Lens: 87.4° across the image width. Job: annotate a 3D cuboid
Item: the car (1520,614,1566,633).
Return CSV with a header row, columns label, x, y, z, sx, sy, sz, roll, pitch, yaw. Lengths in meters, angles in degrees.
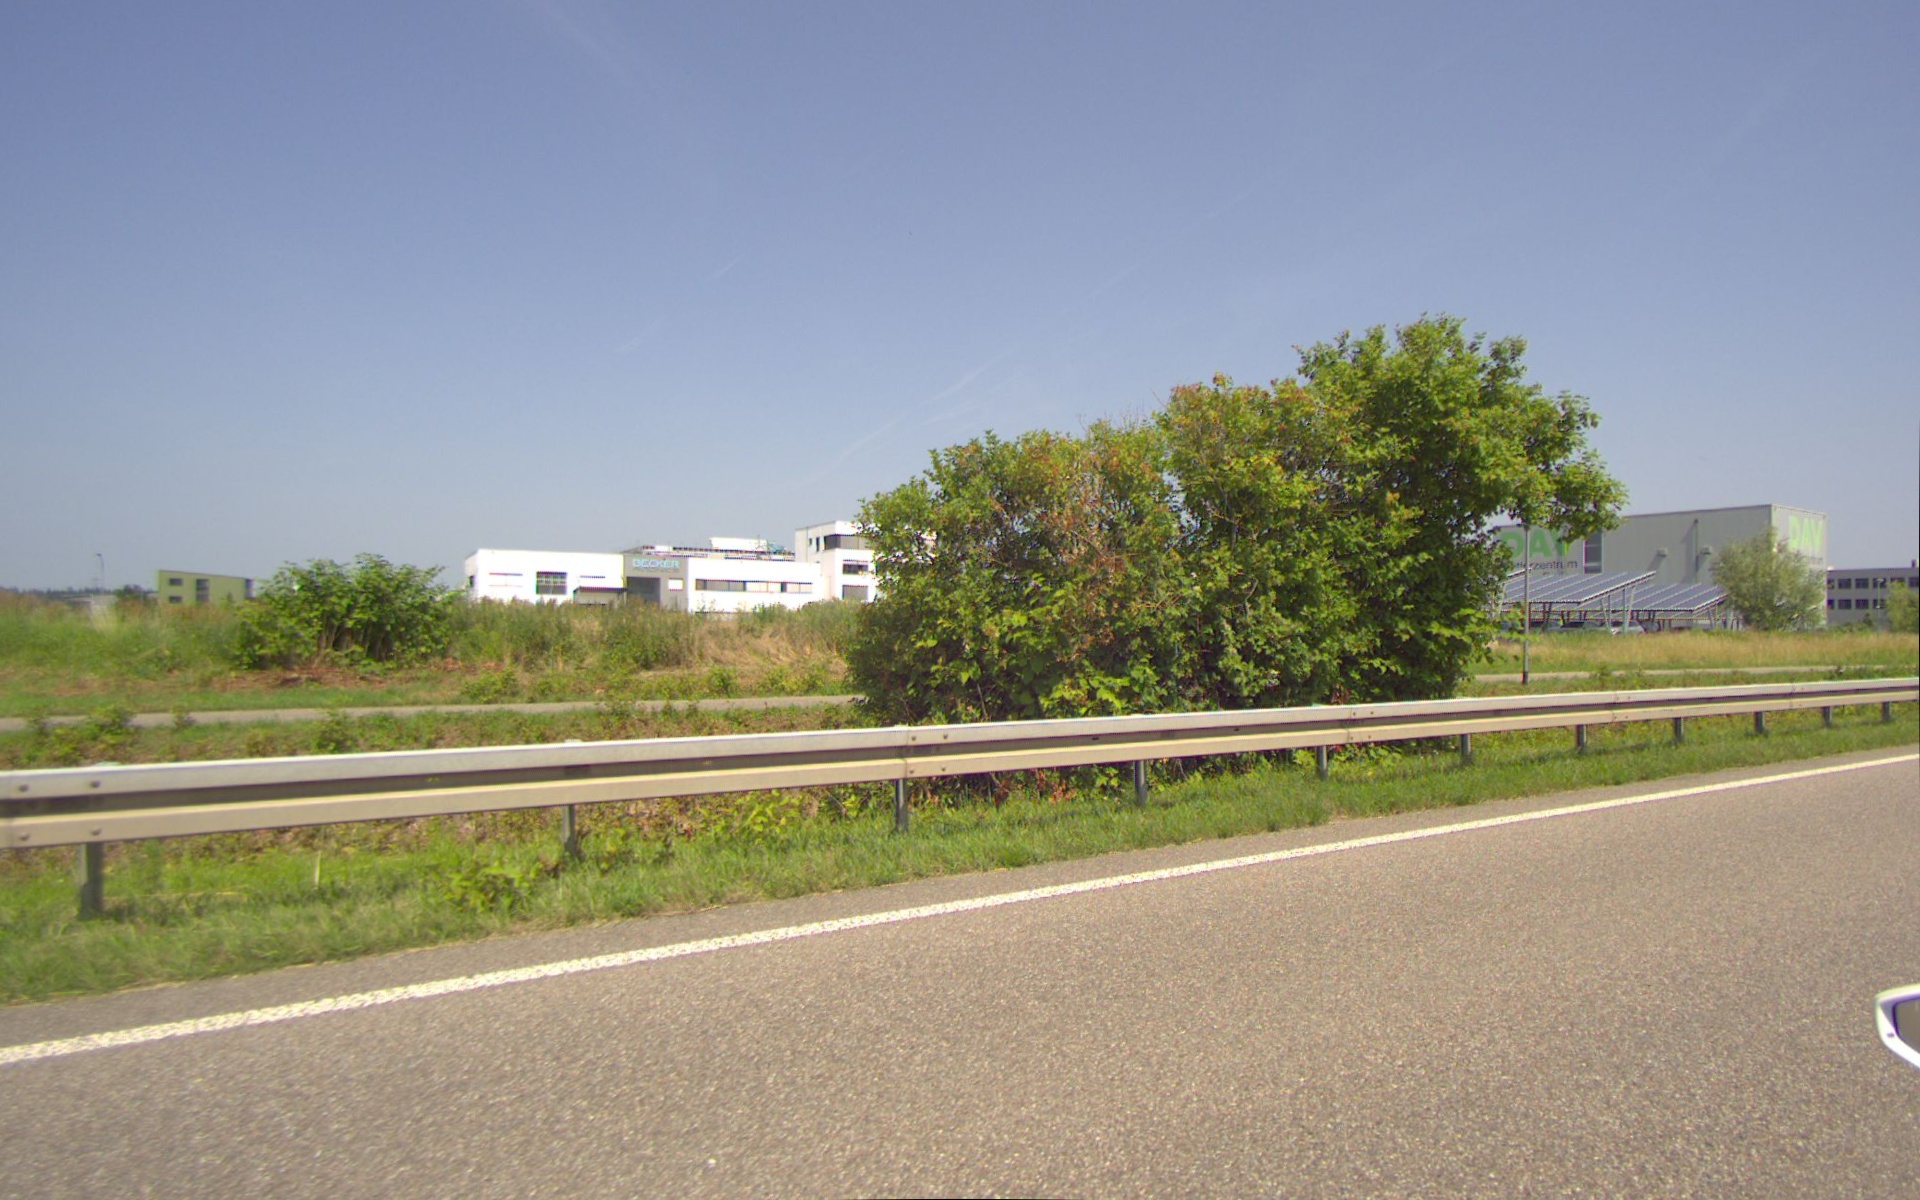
label,x,y,z,sx,sy,sz,roll,pitch,yaw
car,42.474,1.720,73.127,3.328,1.308,1.610,1,-1,-33
